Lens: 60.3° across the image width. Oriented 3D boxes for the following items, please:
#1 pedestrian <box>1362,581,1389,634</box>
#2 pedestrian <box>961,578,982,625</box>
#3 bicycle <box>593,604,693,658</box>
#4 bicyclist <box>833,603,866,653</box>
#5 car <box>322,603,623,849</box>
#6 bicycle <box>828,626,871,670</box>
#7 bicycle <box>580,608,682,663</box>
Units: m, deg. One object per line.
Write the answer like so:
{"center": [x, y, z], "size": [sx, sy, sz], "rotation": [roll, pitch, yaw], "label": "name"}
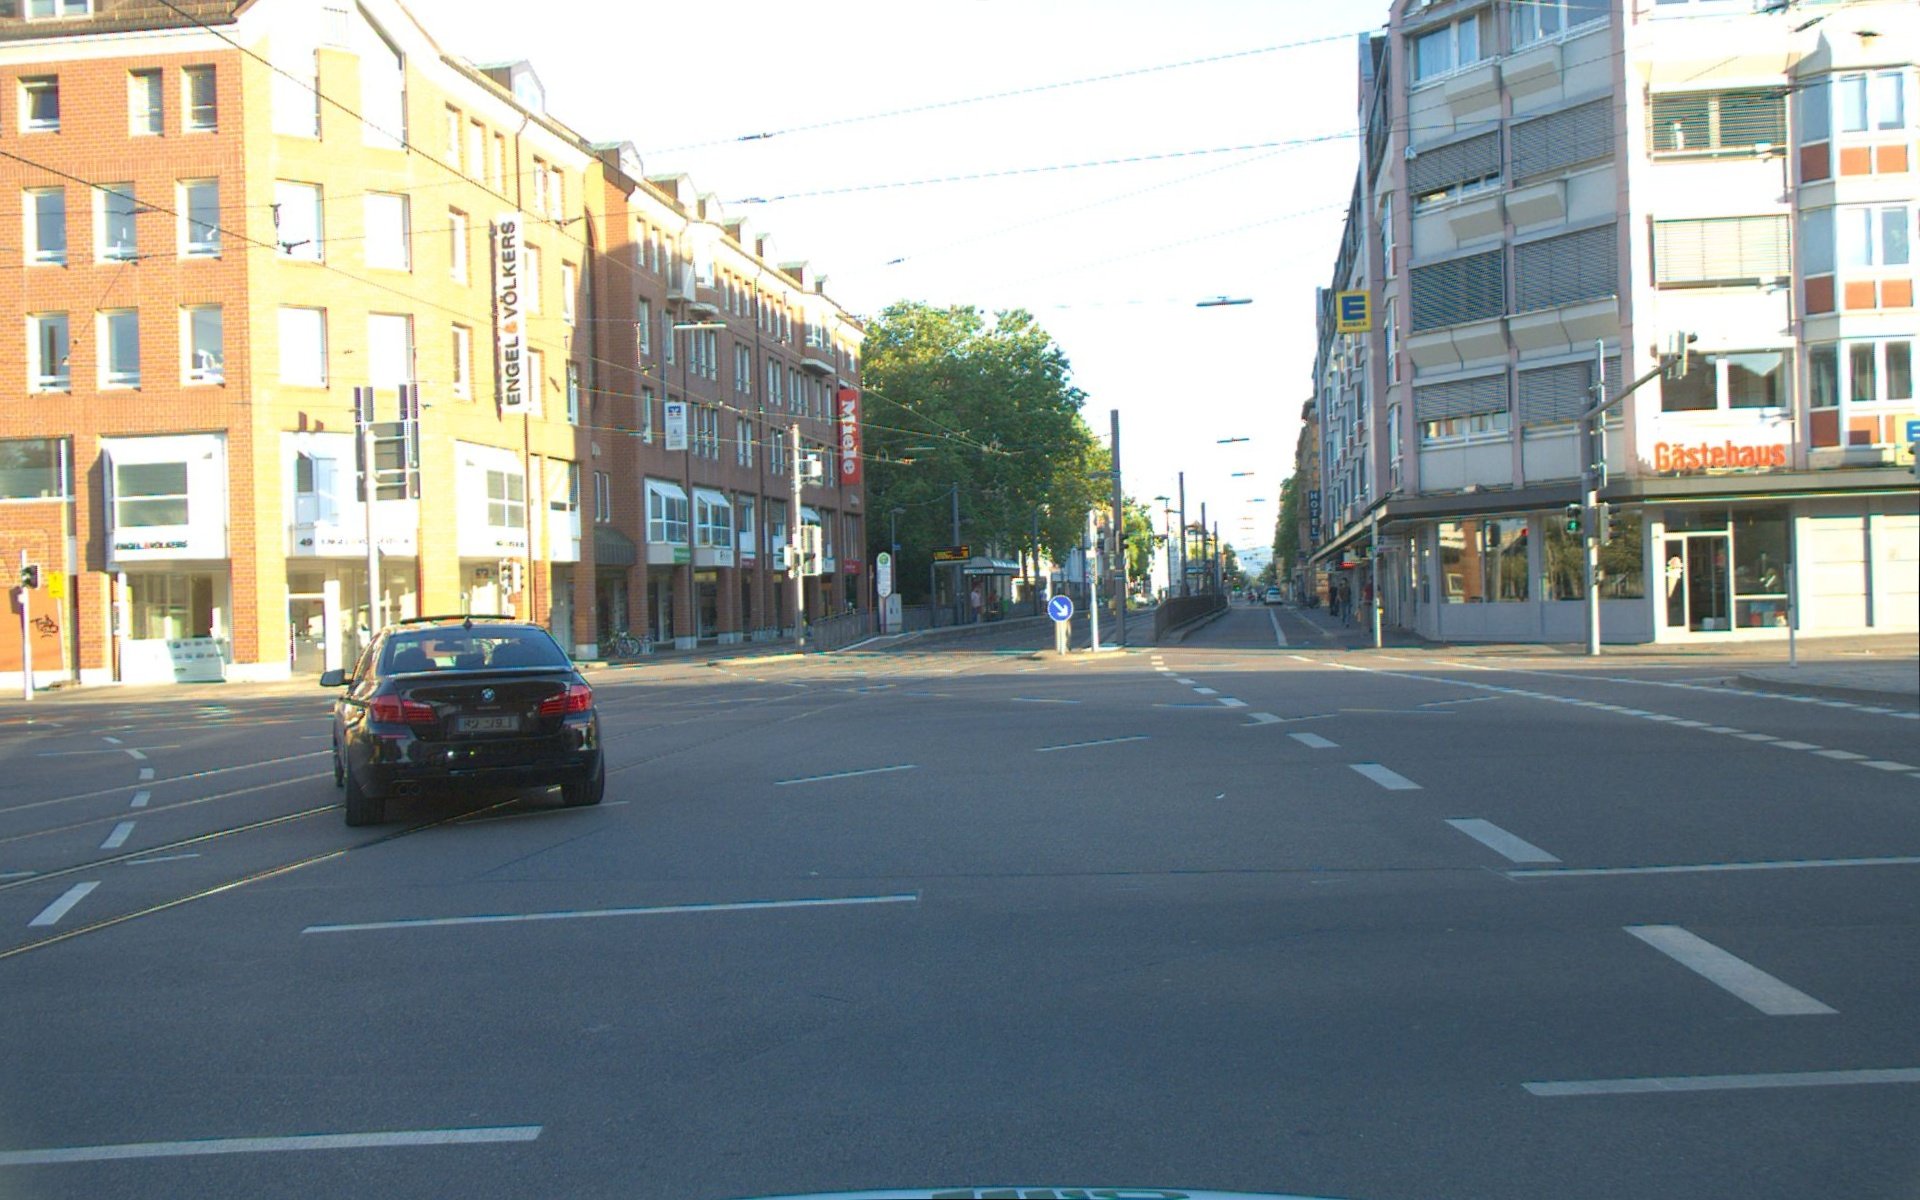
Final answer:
{"center": [12.928, 0.230, 51.491], "size": [0.690, 1.575, 0.908], "rotation": [-1, 3, 8], "label": "pedestrian"}
{"center": [0.527, 0.053, 73.472], "size": [0.791, 2.049, 0.678], "rotation": [-2, 0, 7], "label": "pedestrian"}
{"center": [-11.204, 1.089, 58.529], "size": [3.227, 1.756, 1.070], "rotation": [-2, 0, 9], "label": "bicycle"}
{"center": [-5.632, 1.427, 84.697], "size": [1.263, 2.511, 1.670], "rotation": [-2, 0, 9], "label": "bicyclist"}
{"center": [-4.076, 0.848, 13.347], "size": [1.816, 1.521, 4.262], "rotation": [-3, 1, -23], "label": "car"}
{"center": [-5.627, 2.430, 84.565], "size": [1.267, 2.049, 3.952], "rotation": [-2, 0, 9], "label": "bicycle"}
{"center": [-11.406, 1.222, 57.377], "size": [3.226, 1.756, 1.070], "rotation": [-2, 0, 10], "label": "bicycle"}
